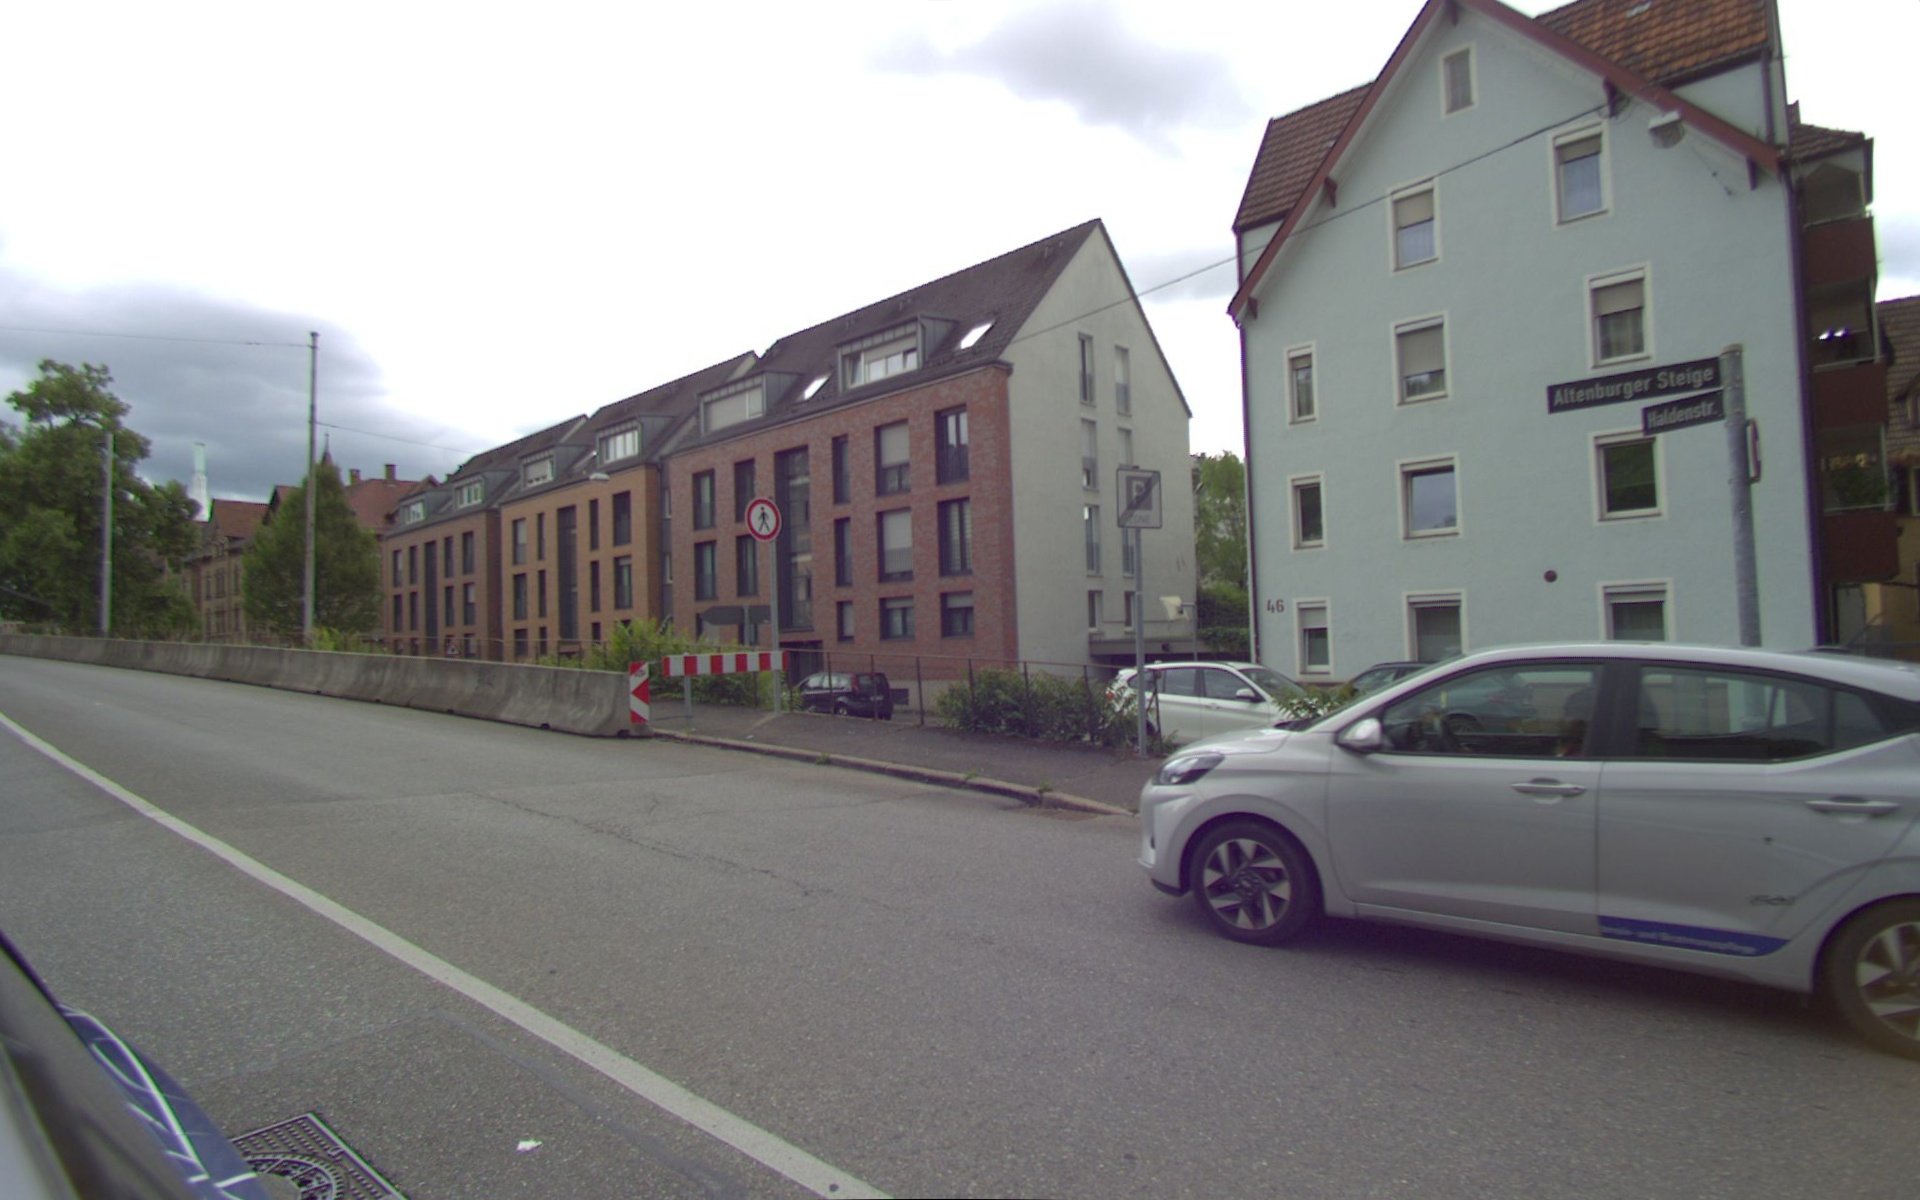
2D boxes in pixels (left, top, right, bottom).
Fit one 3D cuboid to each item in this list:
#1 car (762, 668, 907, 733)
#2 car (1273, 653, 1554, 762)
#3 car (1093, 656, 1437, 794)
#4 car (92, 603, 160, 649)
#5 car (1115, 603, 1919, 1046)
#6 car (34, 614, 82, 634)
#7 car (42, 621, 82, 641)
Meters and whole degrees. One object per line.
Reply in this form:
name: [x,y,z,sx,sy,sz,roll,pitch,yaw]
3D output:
car: [-3.679,2.855,29.421,3.995,1.675,1.974,-2,-4,39]
car: [7.923,1.802,17.935,4.232,1.567,1.664,-1,-1,42]
car: [4.267,1.652,14.625,4.423,1.525,1.808,-1,-1,43]
car: [-50.860,1.541,61.669,5.737,2.601,2.530,0,1,44]
car: [2.726,0.832,4.707,3.631,1.479,1.657,-2,-5,32]
car: [-62.535,1.661,70.151,3.998,1.364,1.972,-1,-3,41]
car: [-73.000,2.511,82.294,3.998,1.564,1.973,-1,-1,41]
